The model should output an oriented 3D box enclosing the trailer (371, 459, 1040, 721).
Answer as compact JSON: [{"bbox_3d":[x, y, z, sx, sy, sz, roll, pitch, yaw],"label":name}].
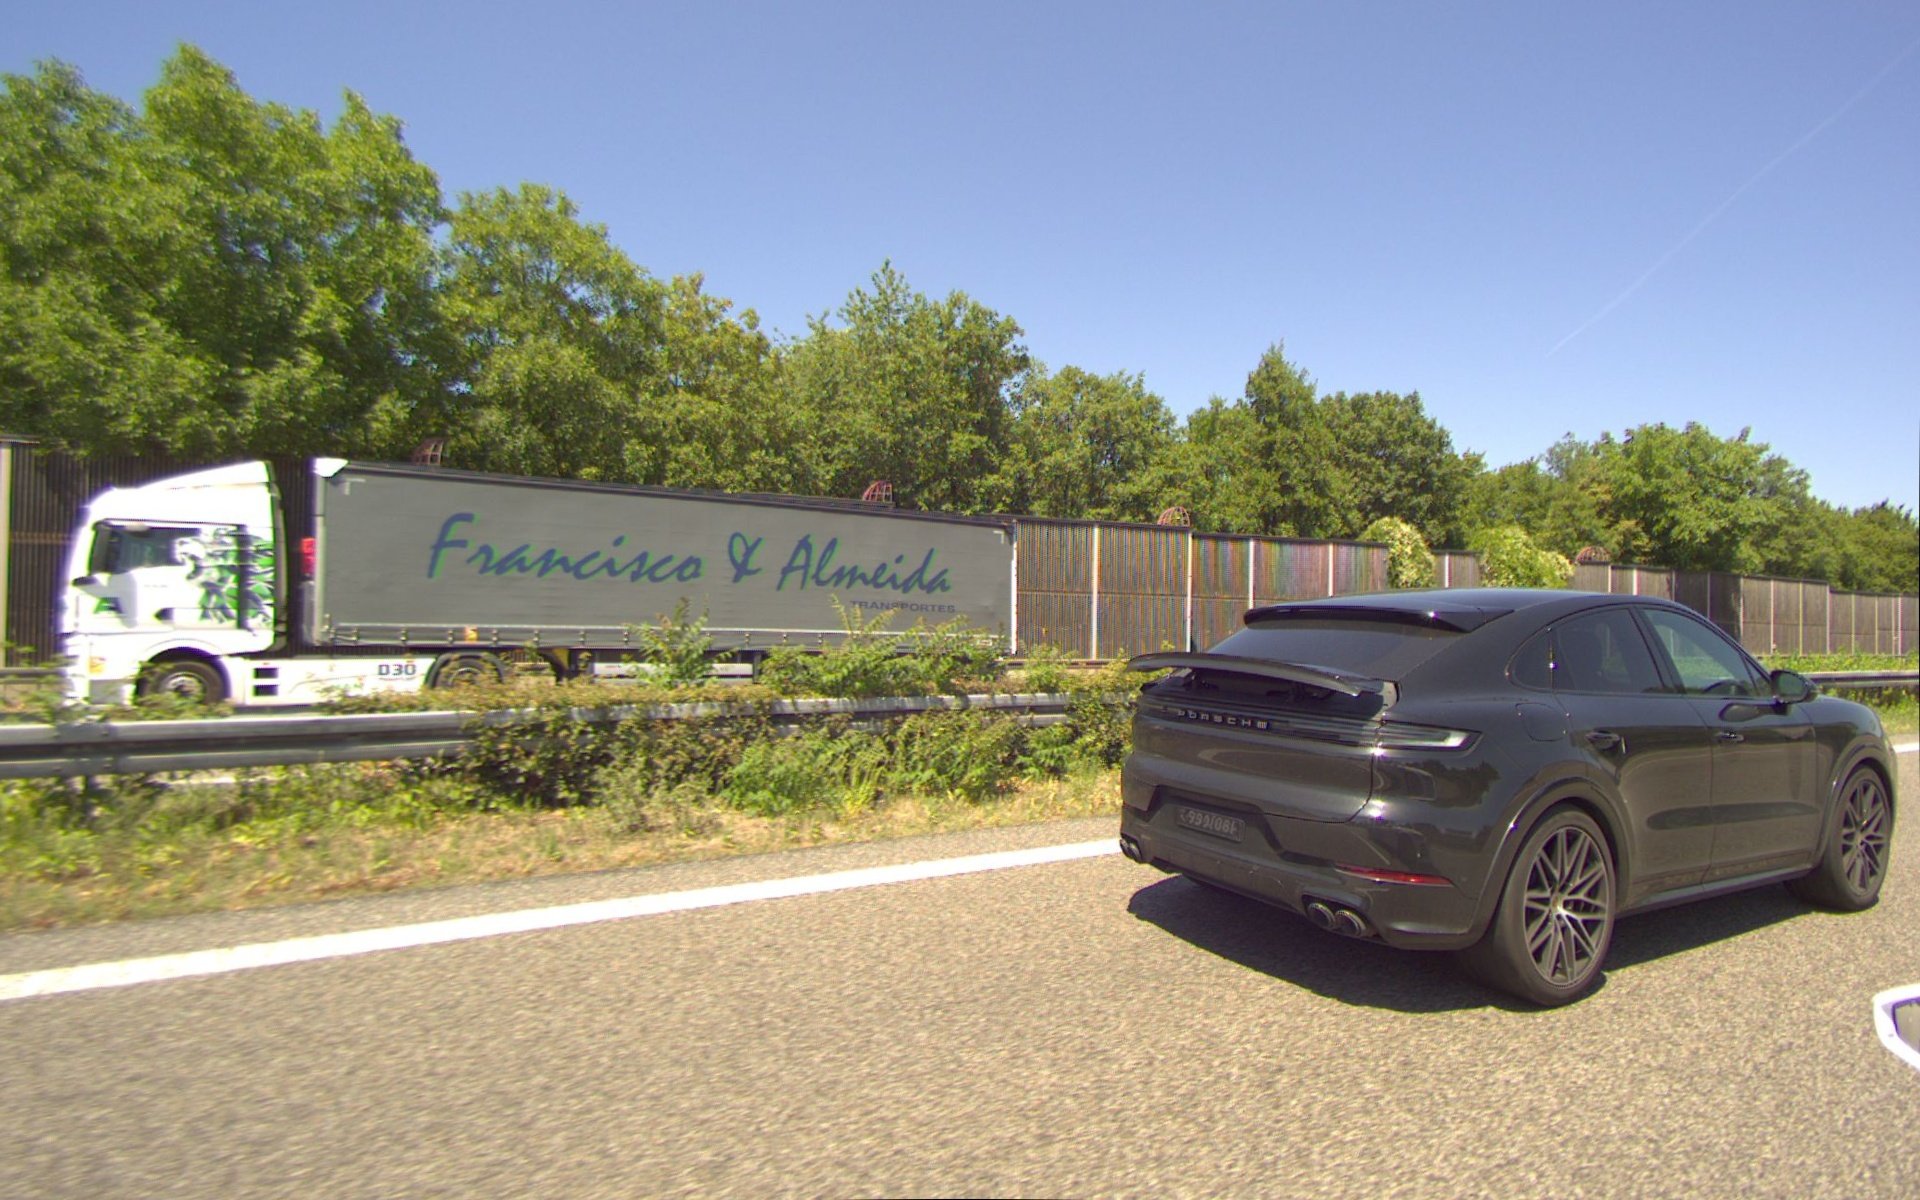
[{"bbox_3d":[-4.548,0.026,20.859,13.158,4.238,2.896,2,-2,-31],"label":"trailer"}]

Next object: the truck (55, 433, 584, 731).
[{"bbox_3d":[-10.455,-0.143,17.291,7.060,4.238,2.820,2,-2,-31],"label":"truck"}]

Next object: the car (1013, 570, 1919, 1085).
[{"bbox_3d":[3.228,0.788,5.543,5.703,1.646,2.034,1,-1,-30],"label":"car"}]
